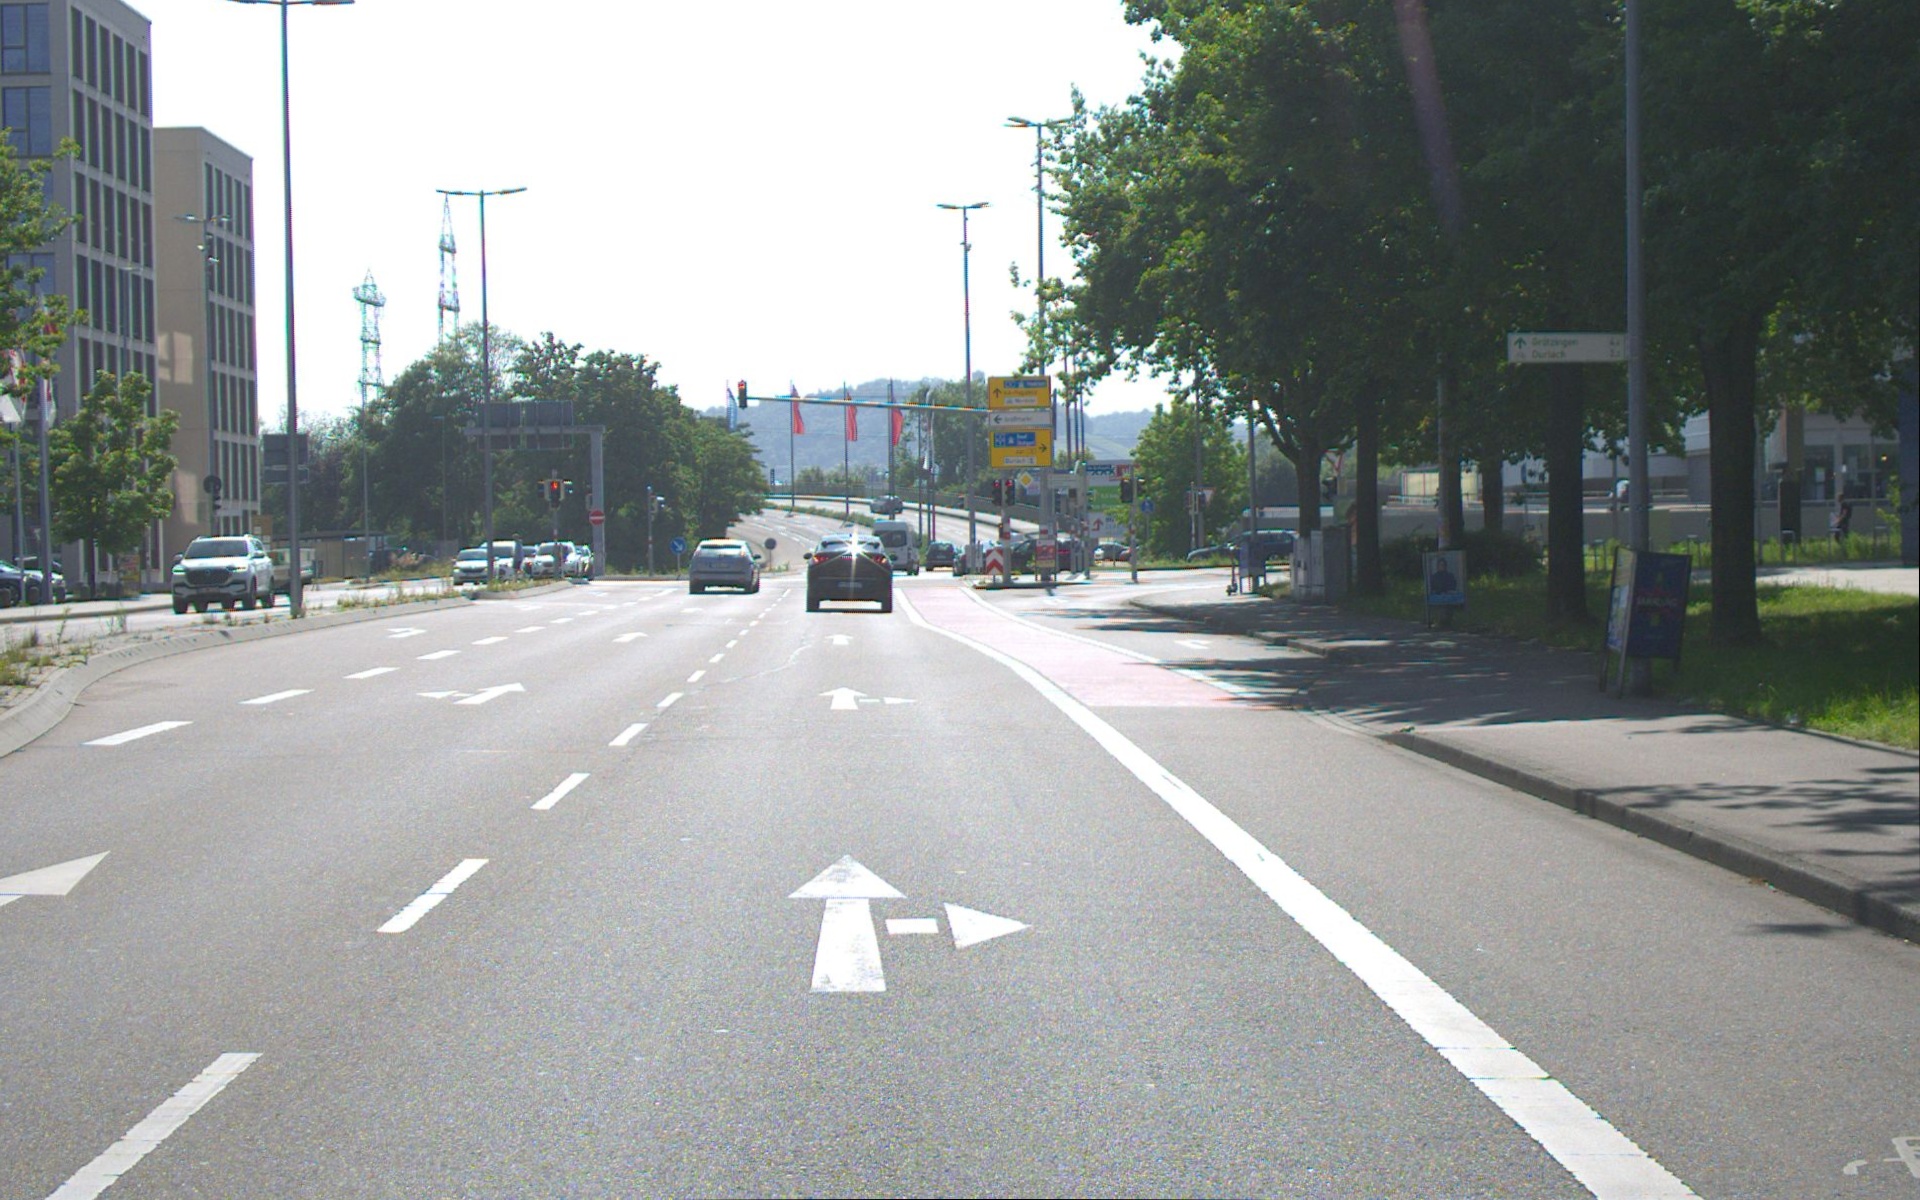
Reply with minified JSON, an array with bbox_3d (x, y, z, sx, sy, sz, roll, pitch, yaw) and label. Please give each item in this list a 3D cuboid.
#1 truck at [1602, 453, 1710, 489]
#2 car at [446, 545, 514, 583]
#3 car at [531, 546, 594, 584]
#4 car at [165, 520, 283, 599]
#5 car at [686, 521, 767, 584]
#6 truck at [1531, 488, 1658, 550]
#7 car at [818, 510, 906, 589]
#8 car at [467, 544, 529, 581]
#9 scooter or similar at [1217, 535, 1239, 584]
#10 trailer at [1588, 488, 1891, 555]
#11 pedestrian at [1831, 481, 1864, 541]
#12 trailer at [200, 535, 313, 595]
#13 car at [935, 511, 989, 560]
[{"bbox_3d":[41.009,-7.603,202.646,5.909,2.006,2.000,1,2,1],"label":"truck"},{"bbox_3d":[-19.147,-1.444,137.204,1.892,1.459,4.000,-1,1,3],"label":"car"},{"bbox_3d":[-15.997,-1.435,138.423,1.816,1.459,4.000,-1,1,3],"label":"car"},{"bbox_3d":[-17.735,-1.000,83.057,1.993,1.826,4.938,-1,1,-3],"label":"car"},{"bbox_3d":[-6.545,-1.352,96.743,1.993,1.678,4.000,-1,1,0],"label":"car"},{"bbox_3d":[26.010,-3.331,141.078,4.881,2.415,2.000,1,2,5],"label":"truck"},{"bbox_3d":[-2.175,-1.120,75.291,1.807,1.634,4.459,-1,1,-3],"label":"car"},{"bbox_3d":[-19.440,-1.588,144.688,1.816,1.459,4.000,-1,1,3],"label":"car"},{"bbox_3d":[6.786,-1.029,86.964,0.351,1.229,1.310,-1,1,12],"label":"scooter or similar"},{"bbox_3d":[31.868,-3.222,140.785,11.872,2.460,2.000,1,2,3],"label":"trailer"},{"bbox_3d":[26.438,-2.654,102.415,0.627,1.764,0.805,-2,1,-12],"label":"pedestrian"},{"bbox_3d":[-18.037,-0.924,88.428,1.993,1.448,5.773,-1,1,-3],"label":"trailer"},{"bbox_3d":[0.065,-2.497,131.757,1.757,1.752,3.604,1,2,-4],"label":"car"}]
